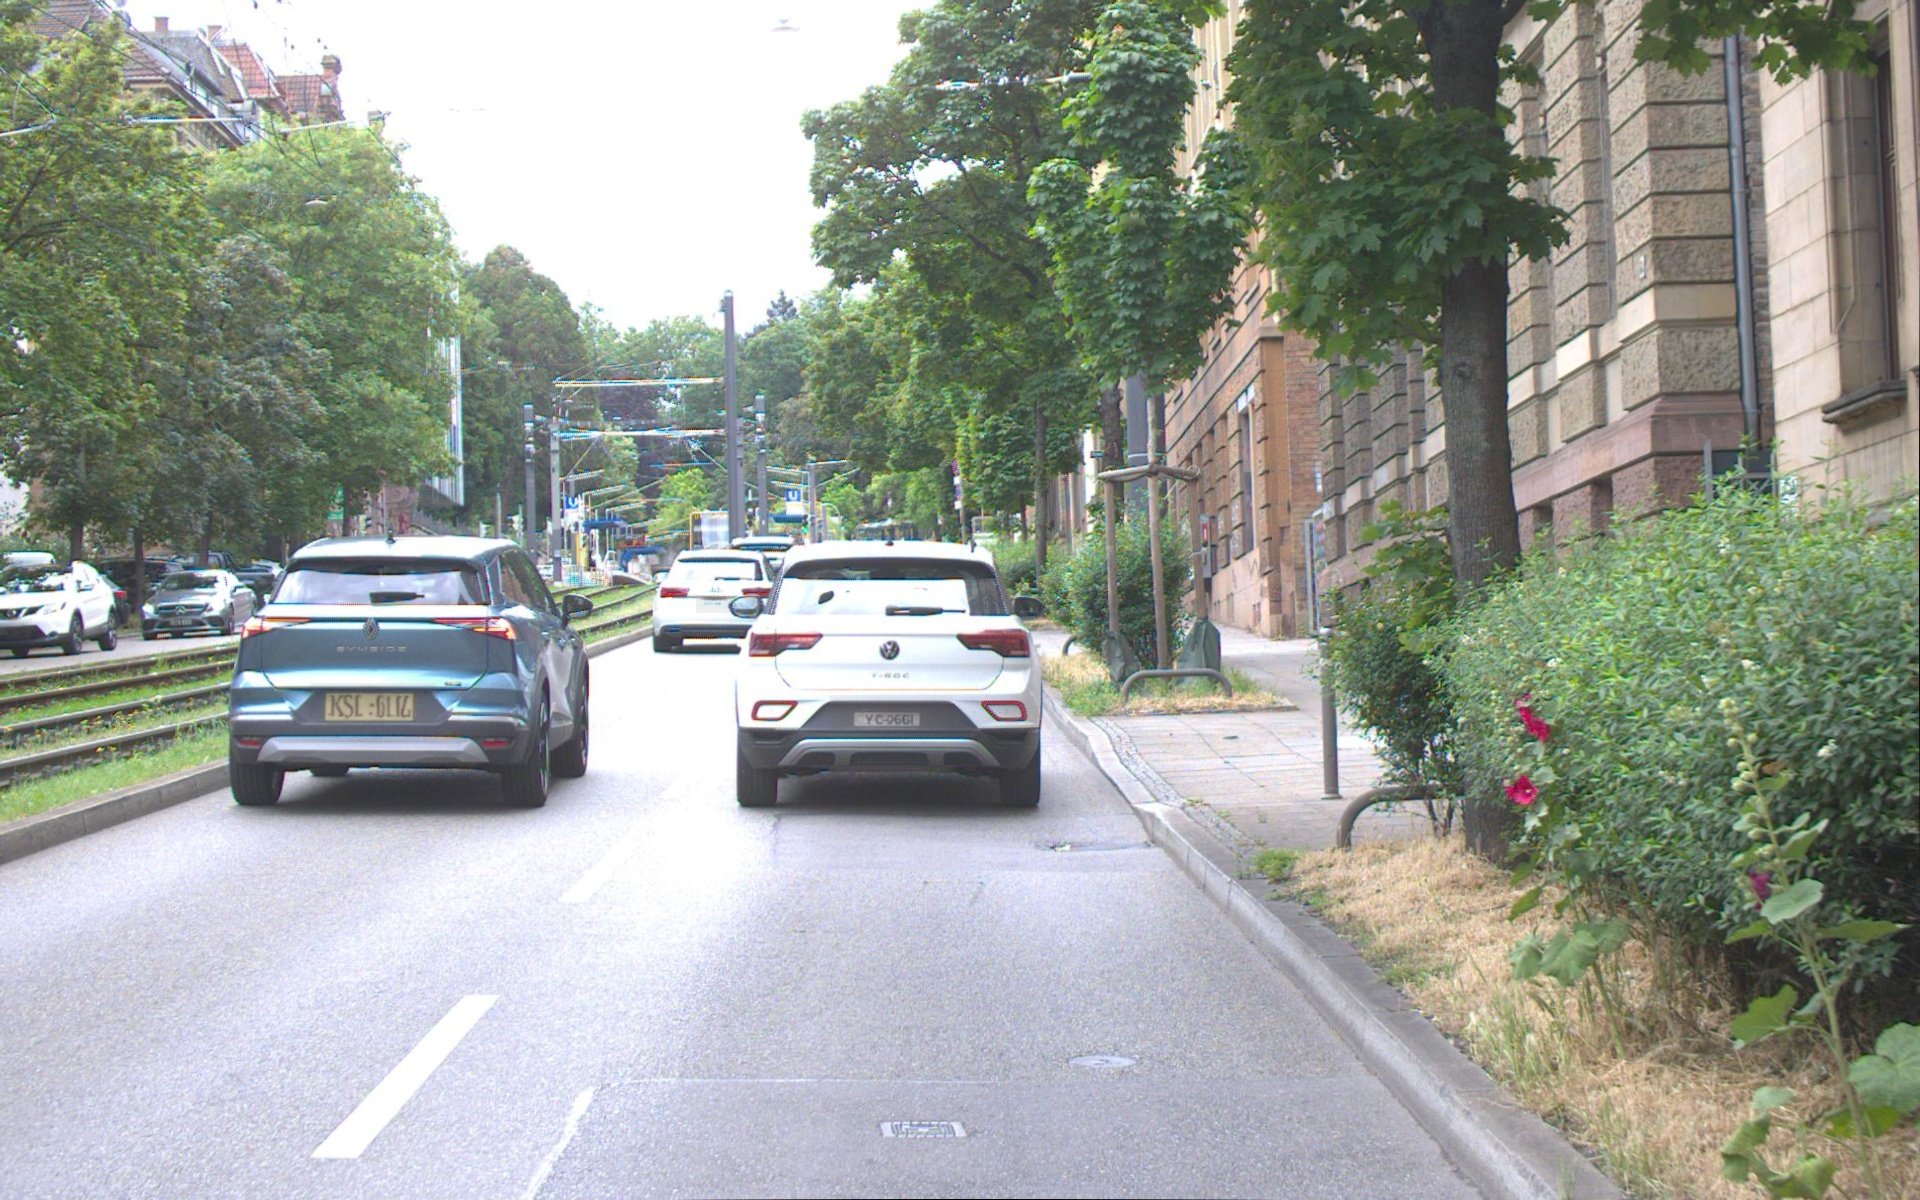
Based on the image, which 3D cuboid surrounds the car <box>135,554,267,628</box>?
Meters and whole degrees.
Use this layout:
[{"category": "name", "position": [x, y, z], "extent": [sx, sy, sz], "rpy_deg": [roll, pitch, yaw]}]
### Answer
[{"category": "car", "position": [-15.787, -0.219, 71.694], "extent": [1.724, 1.405, 4.598], "rpy_deg": [-3, 1, -1]}]

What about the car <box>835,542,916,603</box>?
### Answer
[{"category": "car", "position": [-2.198, -0.724, 89.981], "extent": [2.068, 1.541, 4.194], "rpy_deg": [0, 1, -1]}]

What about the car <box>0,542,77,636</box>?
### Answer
[{"category": "car", "position": [-19.946, -0.182, 68.562], "extent": [4.177, 1.830, 1.872], "rpy_deg": [-2, 1, -27]}]

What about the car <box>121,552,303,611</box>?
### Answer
[{"category": "car", "position": [-20.942, -0.528, 96.301], "extent": [4.593, 1.612, 1.936], "rpy_deg": [0, 1, -34]}]

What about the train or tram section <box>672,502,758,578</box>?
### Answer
[{"category": "train or tram section", "position": [-11.376, -2.750, 160.870], "extent": [2.996, 3.337, 13.439], "rpy_deg": [-1, 1, 0]}]

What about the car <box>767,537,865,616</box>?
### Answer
[{"category": "car", "position": [-2.890, -0.489, 69.590], "extent": [1.835, 1.541, 4.194], "rpy_deg": [0, 1, 0]}]

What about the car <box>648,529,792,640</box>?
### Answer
[{"category": "car", "position": [-3.443, -0.245, 50.023], "extent": [1.835, 1.541, 4.194], "rpy_deg": [0, 1, 0]}]

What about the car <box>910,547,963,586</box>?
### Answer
[{"category": "car", "position": [-0.949, -1.332, 136.494], "extent": [2.068, 1.541, 4.194], "rpy_deg": [0, 1, 0]}]

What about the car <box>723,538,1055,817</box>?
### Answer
[{"category": "car", "position": [-0.458, 0.408, 21.165], "extent": [1.835, 1.541, 4.194], "rpy_deg": [0, 1, -2]}]

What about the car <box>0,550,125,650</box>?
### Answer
[{"category": "car", "position": [-15.831, -0.013, 59.259], "extent": [1.780, 1.611, 4.346], "rpy_deg": [-3, 1, -1]}]

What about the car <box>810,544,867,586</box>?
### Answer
[{"category": "car", "position": [-4.559, -1.316, 128.994], "extent": [2.068, 1.541, 4.194], "rpy_deg": [0, 1, -2]}]

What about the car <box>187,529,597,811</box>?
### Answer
[{"category": "car", "position": [-3.338, 0.361, 20.955], "extent": [1.835, 1.541, 4.194], "rpy_deg": [0, 1, 0]}]

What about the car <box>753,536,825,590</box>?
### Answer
[{"category": "car", "position": [-5.087, -1.100, 102.036], "extent": [2.068, 1.541, 4.194], "rpy_deg": [0, 1, -4]}]
